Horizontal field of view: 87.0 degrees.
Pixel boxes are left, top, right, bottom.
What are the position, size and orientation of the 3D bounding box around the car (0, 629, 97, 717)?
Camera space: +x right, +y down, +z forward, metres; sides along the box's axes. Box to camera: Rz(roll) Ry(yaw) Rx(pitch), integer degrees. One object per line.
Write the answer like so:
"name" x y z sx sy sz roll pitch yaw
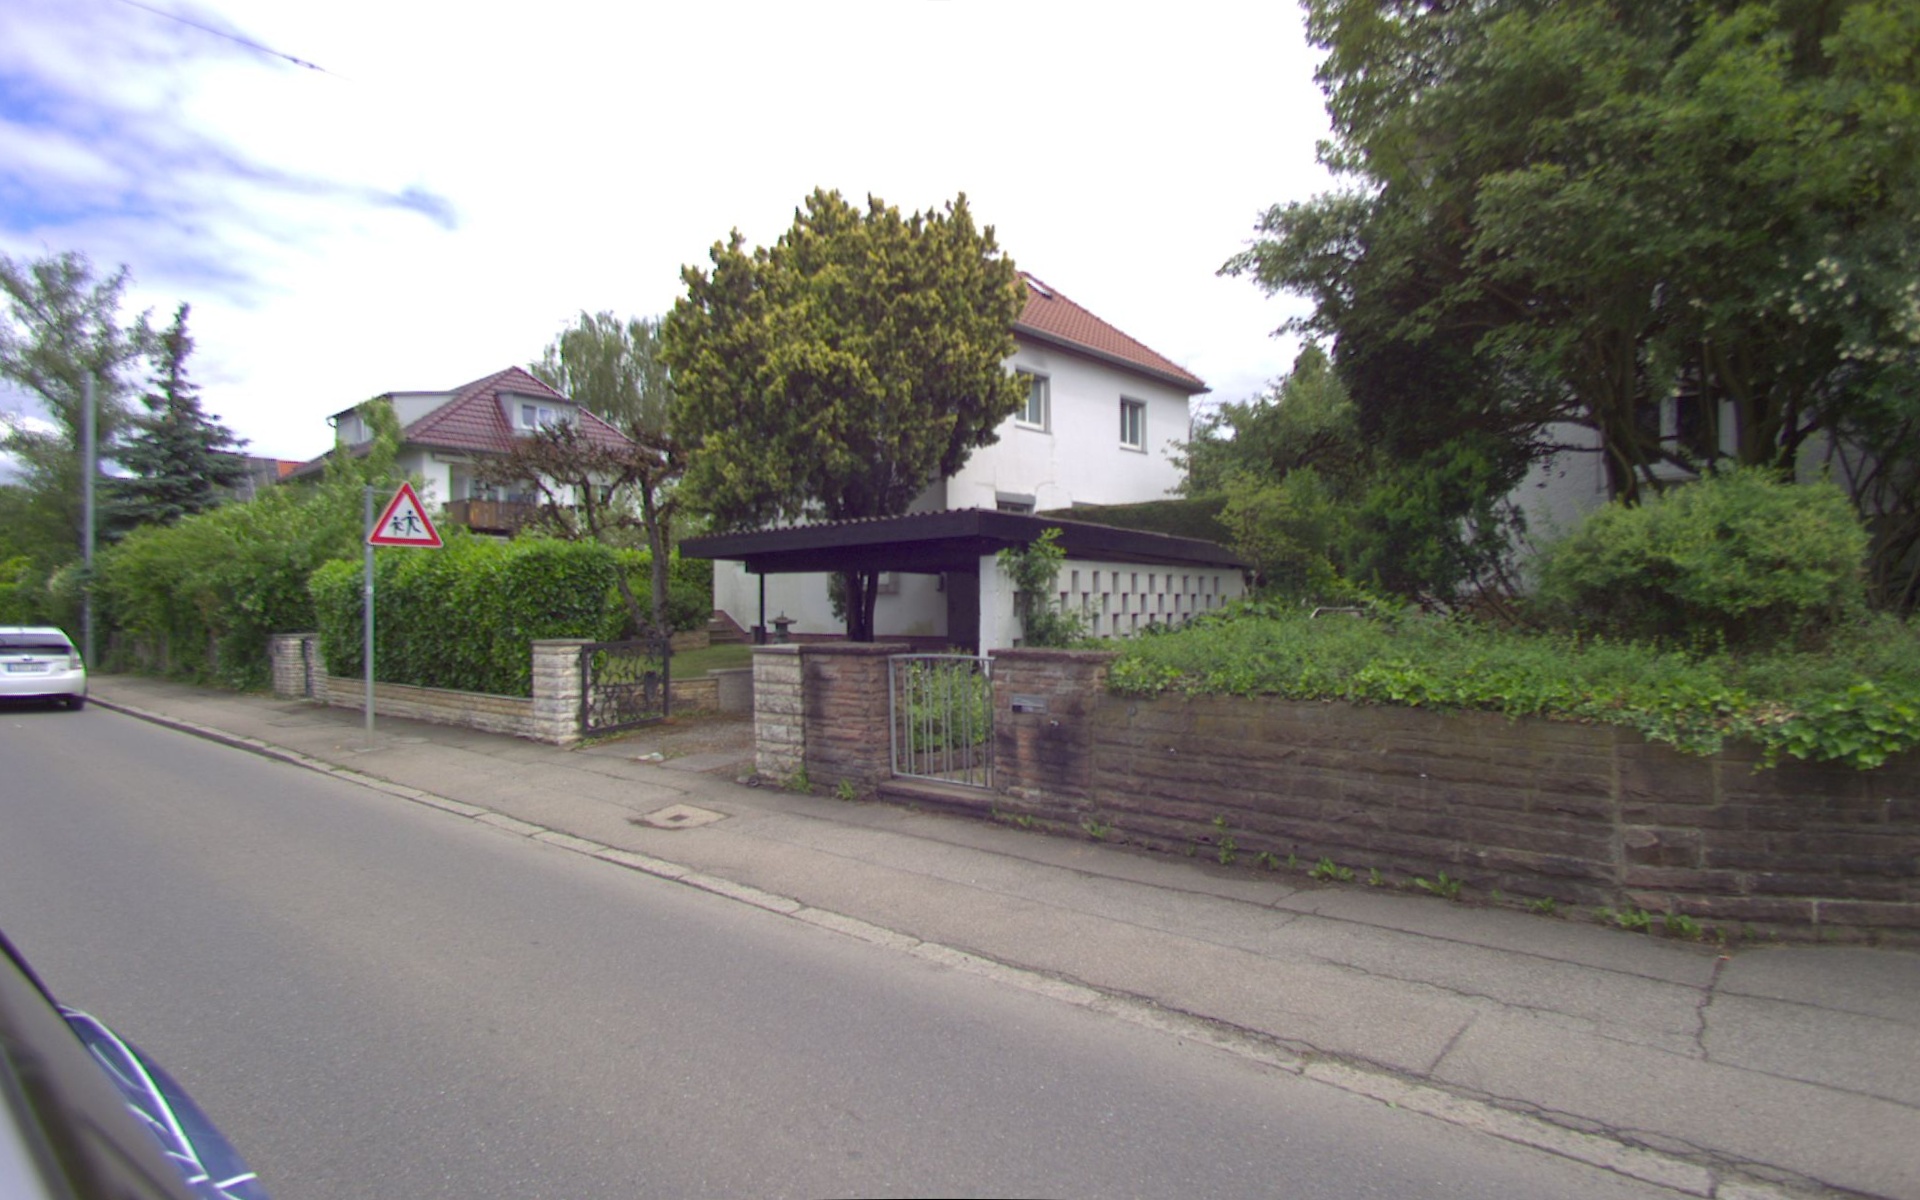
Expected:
"car" -17.409 1.260 18.468 4.278 1.462 1.835 -1 -3 41
